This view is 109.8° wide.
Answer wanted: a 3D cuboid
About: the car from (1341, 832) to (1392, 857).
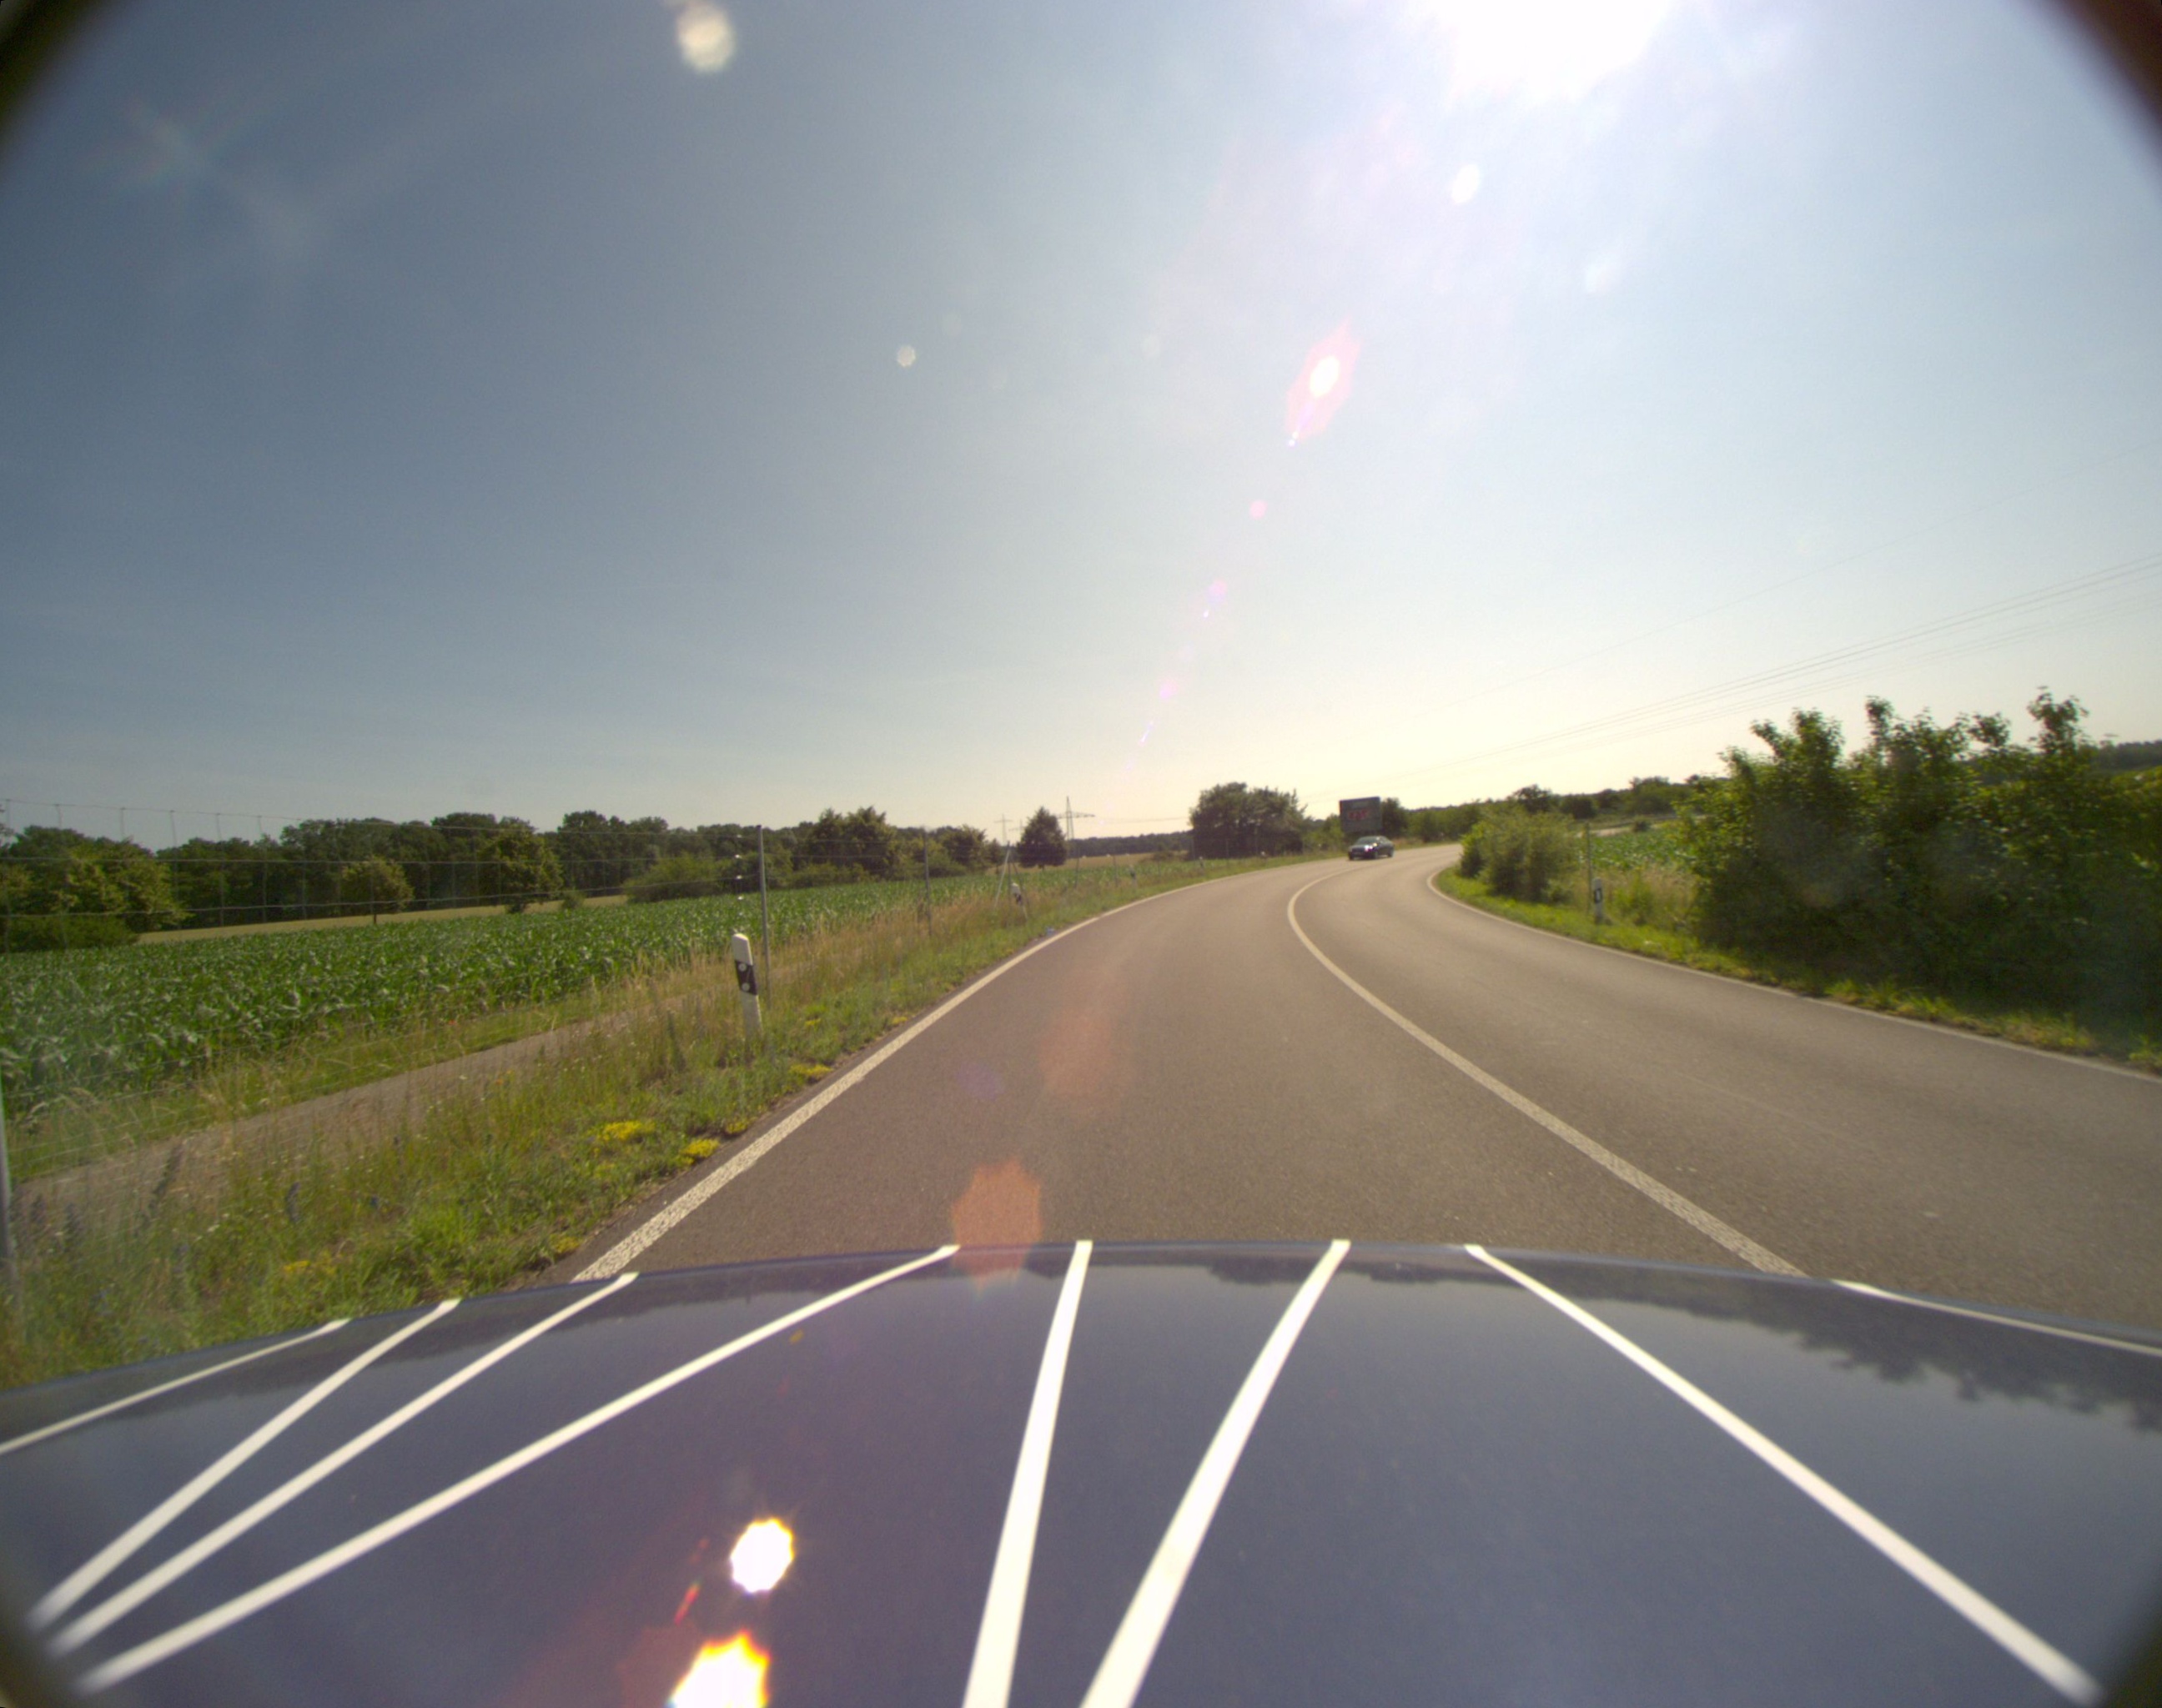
[{"bbox_3d":[18.324,-0.631,48.708,1.882,1.448,4.082,0,3,38],"label":"car"}]
